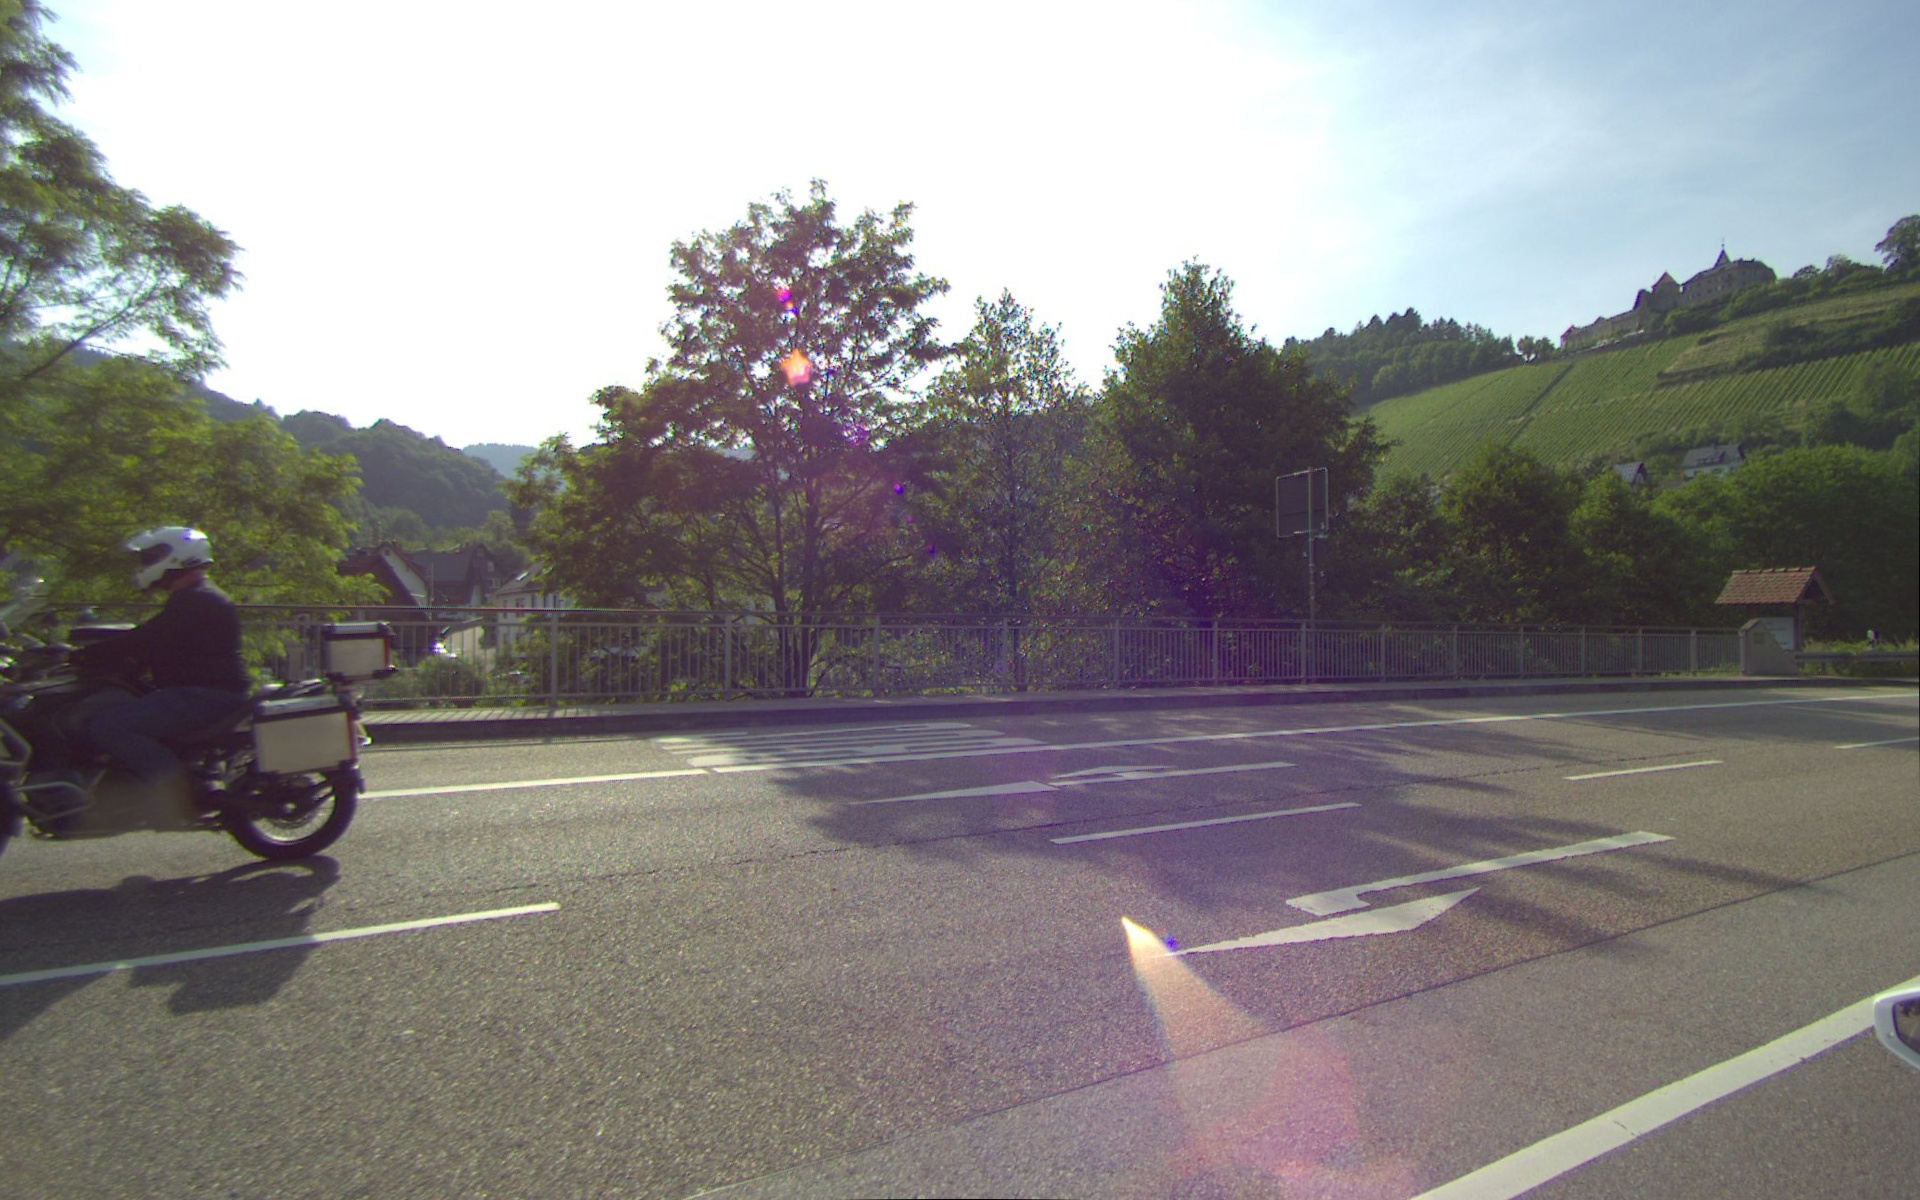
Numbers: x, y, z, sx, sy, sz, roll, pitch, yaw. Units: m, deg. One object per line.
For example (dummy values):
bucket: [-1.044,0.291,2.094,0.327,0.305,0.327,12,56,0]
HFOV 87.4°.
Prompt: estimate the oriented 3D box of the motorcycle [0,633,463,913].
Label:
motorcycle: [-4.065,0.807,5.276,2.542,1.237,0.968,1,0,-30]

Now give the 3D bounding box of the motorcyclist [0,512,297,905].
motorcyclist: [-4.196,0.507,5.235,1.158,1.808,0.840,1,0,-30]
